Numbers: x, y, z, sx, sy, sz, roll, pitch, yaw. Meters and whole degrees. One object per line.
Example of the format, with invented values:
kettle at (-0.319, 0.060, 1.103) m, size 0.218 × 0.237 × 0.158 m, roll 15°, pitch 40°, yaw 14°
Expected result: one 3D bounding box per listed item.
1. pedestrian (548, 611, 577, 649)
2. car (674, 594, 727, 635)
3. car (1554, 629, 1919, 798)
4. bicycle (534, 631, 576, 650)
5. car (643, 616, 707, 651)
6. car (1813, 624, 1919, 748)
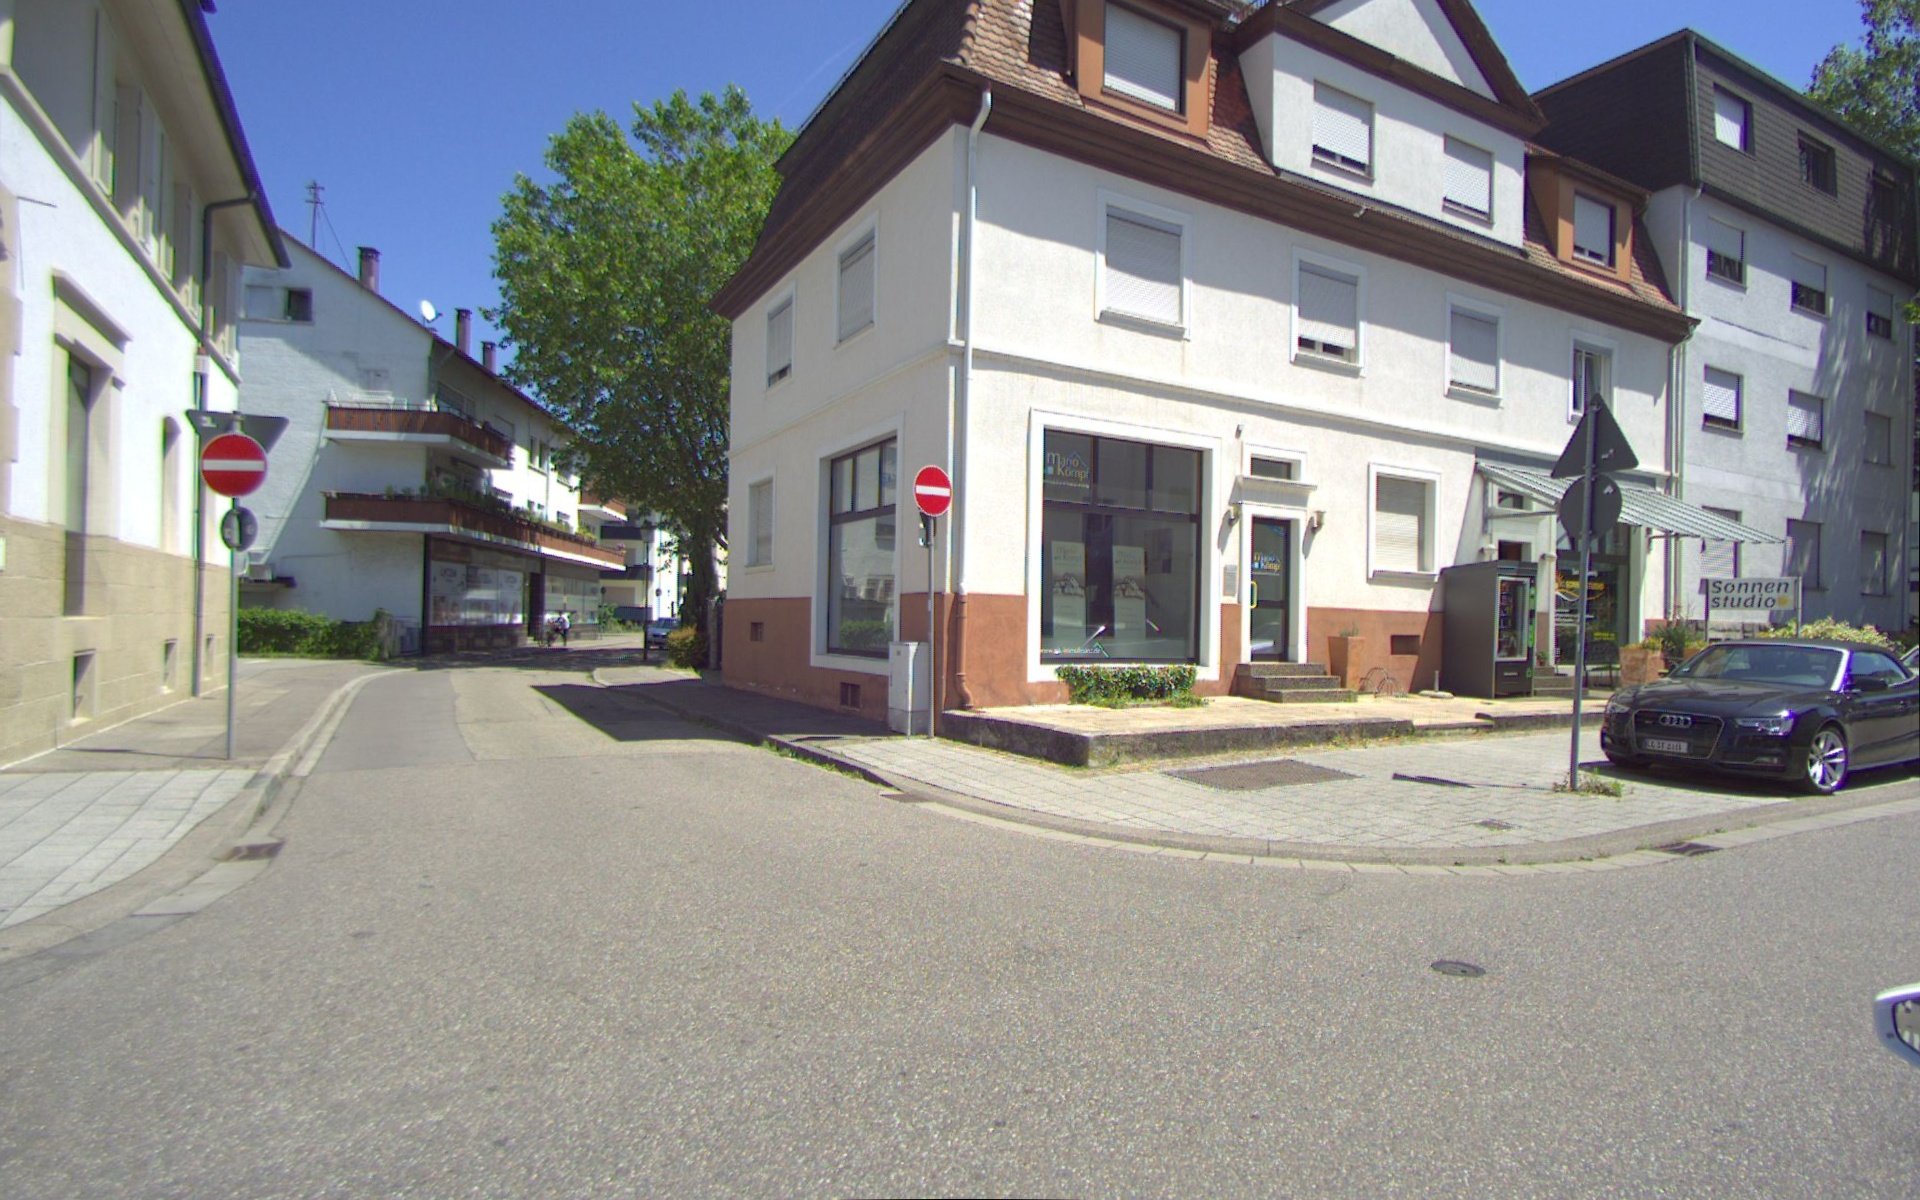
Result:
pedestrian at (-17.488, 1.322, 44.206) m, size 0.898 × 1.618 × 1.253 m, roll 1°, pitch -1°, yaw -10°
car at (-14.592, 0.816, 56.725) m, size 1.962 × 2.179 × 5.165 m, roll 1°, pitch -1°, yaw -4°
car at (8.761, 1.048, 10.663) m, size 5.035 × 1.392 × 1.934 m, roll 1°, pitch 0°, yaw -29°
bicycle at (-17.746, 1.765, 43.998) m, size 0.597 × 0.790 × 1.637 m, roll 0°, pitch -1°, yaw 36°
car at (-12.773, 1.474, 45.264) m, size 1.962 × 1.470 × 3.998 m, roll 1°, pitch -1°, yaw -4°
car at (13.993, 1.128, 13.591) m, size 5.292 × 1.471 × 1.972 m, roll 1°, pitch 0°, yaw -29°
